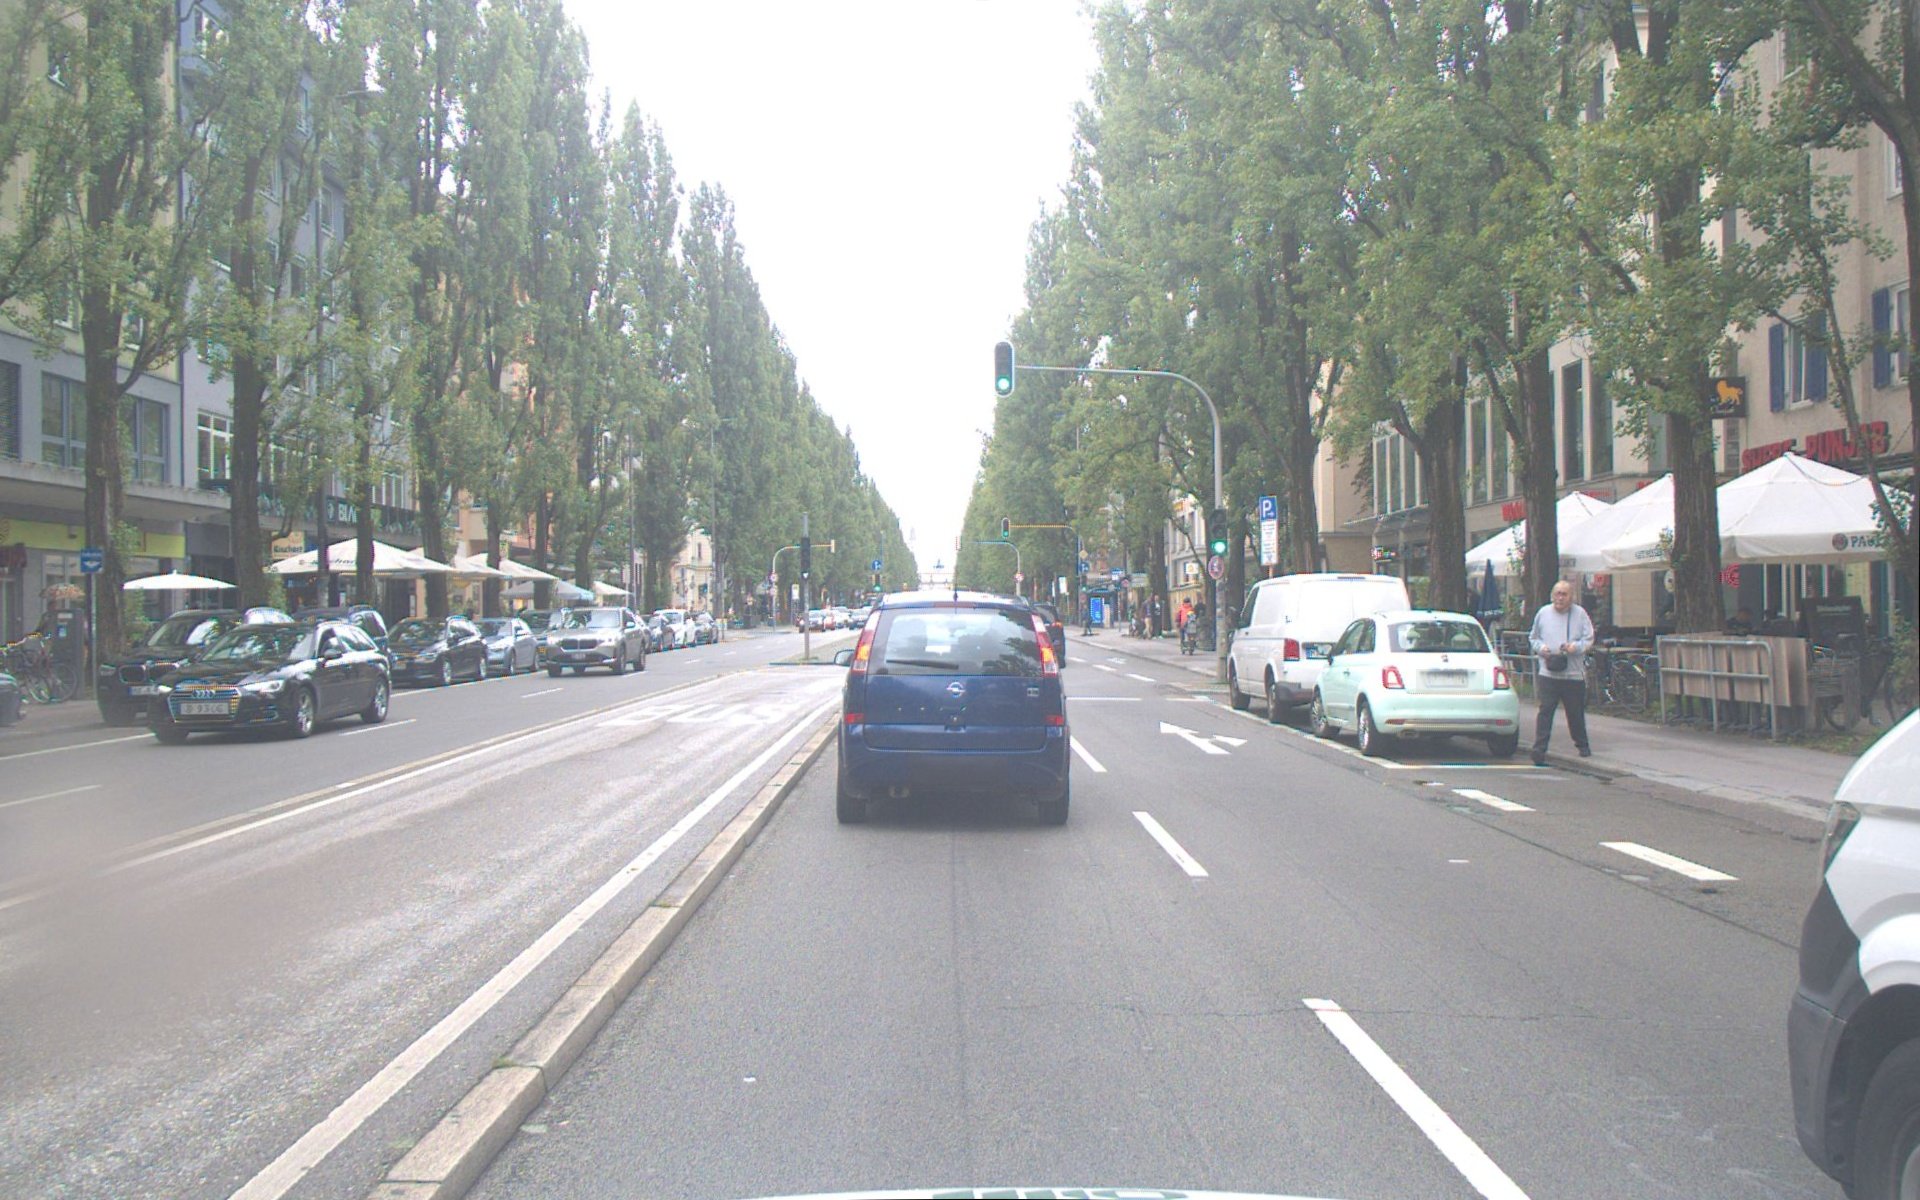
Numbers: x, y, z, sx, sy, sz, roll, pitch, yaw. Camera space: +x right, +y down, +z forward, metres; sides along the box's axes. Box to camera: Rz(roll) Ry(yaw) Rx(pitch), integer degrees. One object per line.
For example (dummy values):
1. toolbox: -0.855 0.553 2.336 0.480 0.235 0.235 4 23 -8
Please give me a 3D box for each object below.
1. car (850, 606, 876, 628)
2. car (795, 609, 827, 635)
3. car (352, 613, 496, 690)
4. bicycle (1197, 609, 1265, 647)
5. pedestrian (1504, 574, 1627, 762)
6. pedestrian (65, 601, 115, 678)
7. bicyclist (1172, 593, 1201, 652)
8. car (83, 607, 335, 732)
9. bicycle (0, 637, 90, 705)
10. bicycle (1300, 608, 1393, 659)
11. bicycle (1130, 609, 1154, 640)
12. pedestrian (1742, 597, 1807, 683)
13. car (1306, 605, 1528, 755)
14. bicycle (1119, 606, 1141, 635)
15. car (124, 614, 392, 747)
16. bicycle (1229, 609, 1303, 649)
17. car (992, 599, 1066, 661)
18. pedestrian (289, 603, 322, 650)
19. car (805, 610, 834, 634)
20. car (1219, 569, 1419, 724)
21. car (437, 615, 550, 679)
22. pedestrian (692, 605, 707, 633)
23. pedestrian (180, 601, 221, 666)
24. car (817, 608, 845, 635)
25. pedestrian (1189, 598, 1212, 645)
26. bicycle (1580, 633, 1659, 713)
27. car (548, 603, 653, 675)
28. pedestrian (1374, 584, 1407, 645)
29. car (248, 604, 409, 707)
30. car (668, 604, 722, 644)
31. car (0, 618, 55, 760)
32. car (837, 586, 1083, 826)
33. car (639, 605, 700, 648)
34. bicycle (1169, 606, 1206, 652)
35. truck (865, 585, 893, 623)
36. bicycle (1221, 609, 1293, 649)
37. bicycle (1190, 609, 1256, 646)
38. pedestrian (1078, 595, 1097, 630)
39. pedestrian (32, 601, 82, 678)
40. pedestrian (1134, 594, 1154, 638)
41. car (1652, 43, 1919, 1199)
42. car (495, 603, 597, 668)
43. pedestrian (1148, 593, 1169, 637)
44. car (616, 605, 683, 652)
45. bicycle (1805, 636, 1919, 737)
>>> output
1. car: -6.946 1.205 118.901 1.699 1.491 3.364 -1 0 -1
2. car: -10.153 1.469 112.706 1.828 1.695 4.119 -1 0 -1
3. car: -11.786 1.092 36.660 1.762 1.515 4.349 -2 0 -1
4. bicycle: 9.250 0.948 56.537 2.182 1.225 0.626 -1 0 -3
5. pedestrian: 6.005 0.650 16.409 0.863 1.804 0.818 0 -1 -41
6. pedestrian: -19.901 0.899 37.843 0.740 1.715 0.675 -1 -1 1
7. bicyclist: 6.994 0.691 51.062 0.752 1.797 0.885 -1 0 -1
8. car: -11.557 0.993 25.830 1.828 1.693 4.610 -2 0 -1
9. bicycle: -16.157 1.214 28.477 1.909 1.114 0.718 2 0 -7
10. bicycle: 9.730 0.846 41.683 2.182 1.225 0.626 -1 0 -3
11. bicycle: 8.287 1.124 75.308 0.757 1.372 2.448 -1 0 -1
12. pedestrian: 13.052 0.629 26.517 0.625 1.347 0.800 -1 0 -1
13. car: 5.003 0.825 18.525 1.509 1.518 3.523 0 0 0
14. bicycle: 8.253 0.967 80.246 0.757 1.372 2.448 -1 0 -1
15. car: -8.940 0.966 21.462 1.710 1.459 4.129 -2 0 -1
16. bicycle: 9.628 0.909 52.023 2.182 1.225 0.626 -1 0 -3
17. car: 1.880 0.800 45.932 1.858 1.650 3.999 0 0 -1
18. pedestrian: -20.681 0.837 52.250 0.750 1.434 0.799 1 -1 -6
19. car: -10.148 1.577 119.722 1.828 1.695 4.119 -1 0 -1
20. car: 4.977 0.601 23.571 1.751 1.980 4.729 0 0 -1
21. car: -11.767 1.151 41.944 1.698 1.450 4.142 -2 0 -1
22. pedestrian: -17.315 1.268 109.955 0.757 1.797 0.878 0 0 -25
23. pedestrian: -20.314 0.891 44.251 0.740 1.715 0.675 -1 -1 0
24. car: -10.092 1.658 129.392 1.953 2.049 3.999 -1 0 -1
25. pedestrian: 9.651 0.861 66.313 0.625 1.859 0.885 1 -1 -11
26. bicycle: 8.808 0.954 22.136 0.342 1.013 1.453 -2 -1 -4
27. car: -8.904 0.925 41.300 1.735 1.663 4.454 -2 0 -2
28. pedestrian: 12.476 0.426 47.981 0.660 1.715 0.758 -1 -1 -5
29. car: -11.787 0.983 31.142 1.676 1.751 3.919 -2 0 -4
30. car: -12.293 1.090 76.949 1.828 1.695 4.119 -2 0 -1
31. car: -11.648 1.036 17.391 1.828 1.579 4.413 -2 0 -1
32. car: -0.019 0.713 13.023 1.637 1.596 3.999 0 0 -1
33. car: -12.190 1.094 69.675 1.828 1.695 4.119 -2 0 -1
34. bicycle: 7.000 0.892 51.031 0.757 1.372 2.448 -1 0 -1
35. truck: -7.457 0.333 153.317 2.334 3.405 7.109 -1 0 -1
36. bicycle: 9.617 0.928 53.630 2.182 1.225 0.626 -1 0 -3
37. bicycle: 9.206 0.958 57.914 2.182 1.225 0.626 -1 0 -3
38. pedestrian: 6.608 0.651 85.867 0.865 1.797 0.769 -1 0 -4
39. pedestrian: -20.675 0.899 37.884 0.740 1.715 0.675 -1 -1 1
40. pedestrian: 7.892 0.698 70.894 0.625 1.859 0.885 1 -1 -11
41. car: 2.790 0.243 0.844 2.021 2.536 6.729 0 0 -1
42. car: -11.870 0.984 47.658 1.828 1.695 4.400 -2 0 -1
43. pedestrian: 8.549 0.657 71.295 0.625 1.859 0.885 1 -1 -11
44. car: -12.047 1.082 64.416 1.828 1.695 4.119 -2 0 -1
45. bicycle: 9.684 0.903 17.762 0.342 1.013 1.453 -2 -1 -4
